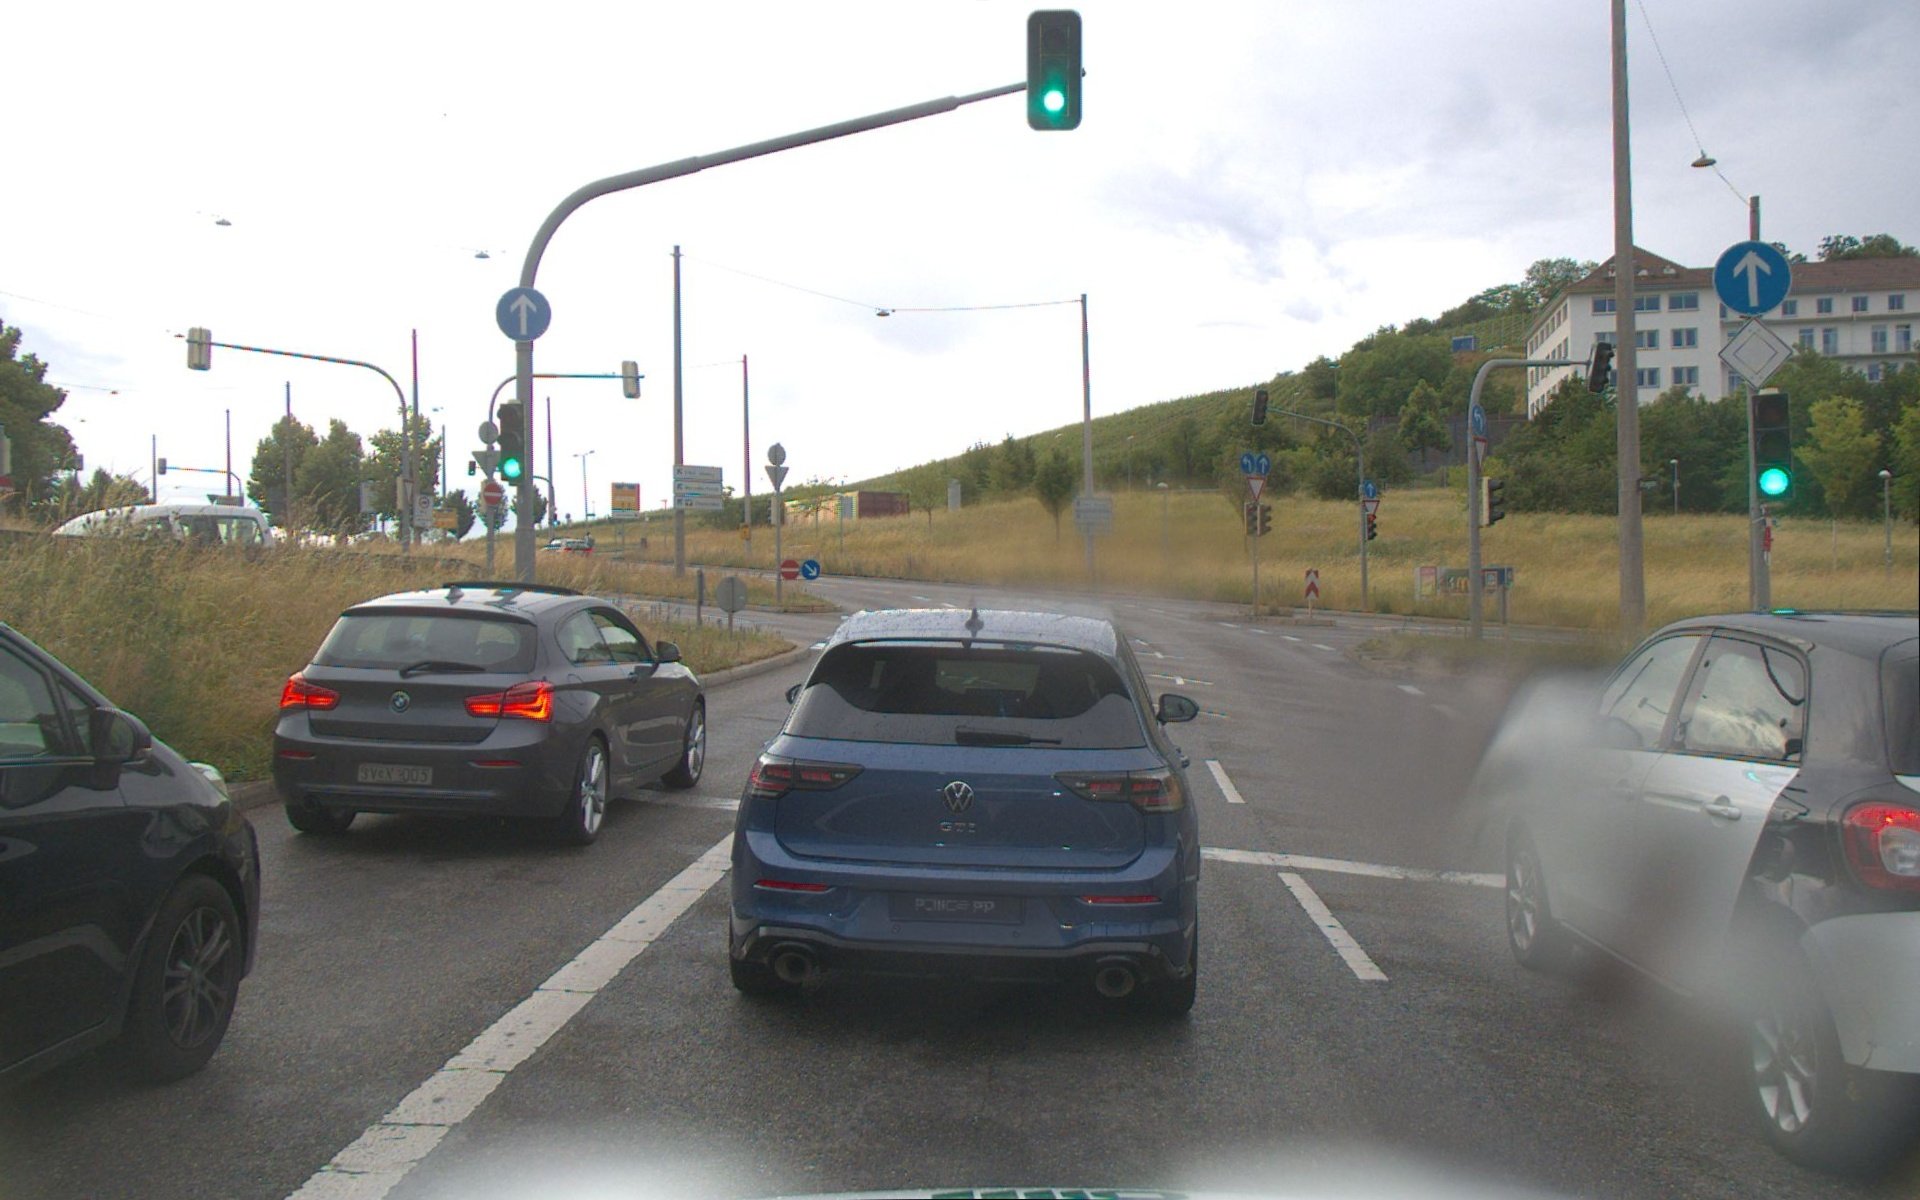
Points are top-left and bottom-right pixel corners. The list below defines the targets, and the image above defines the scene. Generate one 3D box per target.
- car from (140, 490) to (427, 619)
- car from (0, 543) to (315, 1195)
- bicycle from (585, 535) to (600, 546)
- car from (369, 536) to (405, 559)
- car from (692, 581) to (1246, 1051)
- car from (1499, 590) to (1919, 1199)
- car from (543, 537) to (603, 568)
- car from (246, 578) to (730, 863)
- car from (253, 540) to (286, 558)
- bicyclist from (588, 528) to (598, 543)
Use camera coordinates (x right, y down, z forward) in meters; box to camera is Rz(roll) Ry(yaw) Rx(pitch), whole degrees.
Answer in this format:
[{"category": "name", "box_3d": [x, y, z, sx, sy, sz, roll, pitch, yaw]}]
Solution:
[{"category": "car", "box_3d": [-10.771, -0.648, 26.759, 1.777, 1.882, 4.701, 1, -1, 15]}, {"category": "car", "box_3d": [-3.035, 0.598, 3.631, 1.608, 1.530, 3.779, 3, 0, 2]}, {"category": "bicycle", "box_3d": [-27.445, -4.456, 123.445, 0.513, 0.788, 1.602, 2, 1, -33]}, {"category": "car", "box_3d": [-46.031, -4.251, 132.853, 1.972, 1.665, 4.379, 3, 0, -29]}, {"category": "car", "box_3d": [0.169, 0.688, 7.261, 1.786, 1.486, 3.810, 1, 0, 4]}, {"category": "car", "box_3d": [3.165, 0.773, 5.712, 1.623, 1.529, 3.452, 1, -1, 3]}, {"category": "car", "box_3d": [-21.842, -2.673, 93.234, 1.973, 1.646, 4.802, 2, 1, -30]}, {"category": "car", "box_3d": [-2.770, 0.609, 10.722, 1.667, 1.485, 4.117, 0, 0, 5]}, {"category": "car", "box_3d": [-65.143, -4.762, 156.029, 1.978, 1.503, 4.446, 1, -1, -36]}, {"category": "bicyclist", "box_3d": [-27.396, -4.787, 123.413, 0.518, 1.065, 0.574, 4, 0, -34]}]
